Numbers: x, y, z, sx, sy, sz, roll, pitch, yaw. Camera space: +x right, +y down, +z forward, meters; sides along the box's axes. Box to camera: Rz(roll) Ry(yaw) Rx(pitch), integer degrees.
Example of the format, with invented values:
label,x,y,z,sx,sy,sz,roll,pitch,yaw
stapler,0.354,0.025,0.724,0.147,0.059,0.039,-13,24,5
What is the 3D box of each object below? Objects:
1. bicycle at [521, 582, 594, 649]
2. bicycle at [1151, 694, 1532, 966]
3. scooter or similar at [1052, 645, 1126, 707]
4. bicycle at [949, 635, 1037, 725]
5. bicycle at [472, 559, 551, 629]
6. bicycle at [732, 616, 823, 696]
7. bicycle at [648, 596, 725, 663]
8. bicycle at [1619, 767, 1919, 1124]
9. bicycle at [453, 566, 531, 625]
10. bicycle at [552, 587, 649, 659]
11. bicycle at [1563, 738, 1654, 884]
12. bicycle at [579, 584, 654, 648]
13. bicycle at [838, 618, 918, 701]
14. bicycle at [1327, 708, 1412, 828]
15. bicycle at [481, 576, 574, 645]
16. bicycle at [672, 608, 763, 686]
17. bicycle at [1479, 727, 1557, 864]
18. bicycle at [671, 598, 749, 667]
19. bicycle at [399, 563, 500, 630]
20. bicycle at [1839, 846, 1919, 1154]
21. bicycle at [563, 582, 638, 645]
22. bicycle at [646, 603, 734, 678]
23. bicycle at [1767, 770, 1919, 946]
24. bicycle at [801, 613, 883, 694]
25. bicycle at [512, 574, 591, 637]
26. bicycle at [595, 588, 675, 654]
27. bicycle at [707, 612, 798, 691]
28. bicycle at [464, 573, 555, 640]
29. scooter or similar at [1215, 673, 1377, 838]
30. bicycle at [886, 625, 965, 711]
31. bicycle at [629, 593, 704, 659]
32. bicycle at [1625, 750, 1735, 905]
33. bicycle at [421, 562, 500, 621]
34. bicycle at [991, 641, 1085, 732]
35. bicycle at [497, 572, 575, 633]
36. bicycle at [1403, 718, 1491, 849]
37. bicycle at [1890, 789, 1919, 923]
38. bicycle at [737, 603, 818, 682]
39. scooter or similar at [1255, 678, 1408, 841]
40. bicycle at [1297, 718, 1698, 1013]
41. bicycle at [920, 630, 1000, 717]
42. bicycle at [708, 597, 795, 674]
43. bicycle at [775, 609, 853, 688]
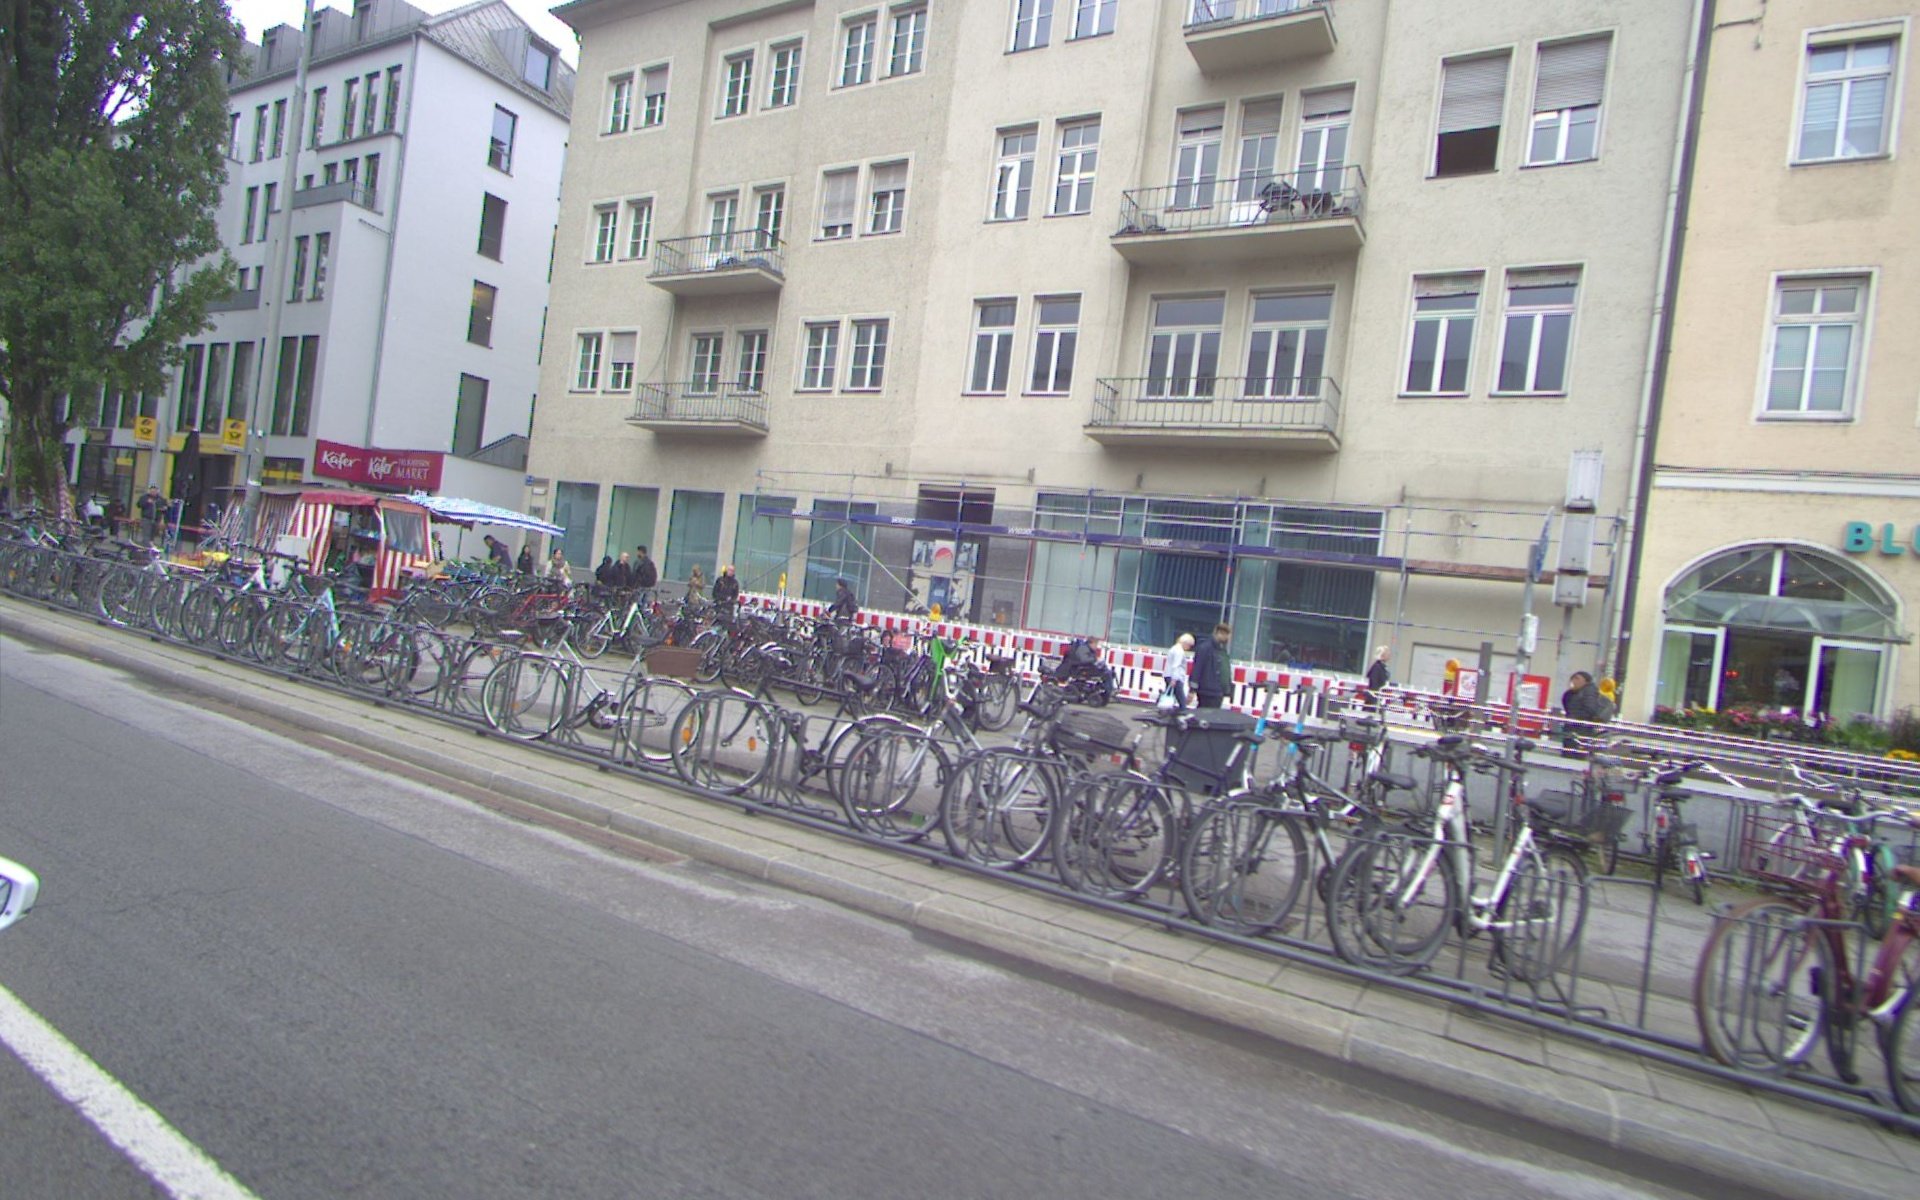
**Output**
label,x,y,z,sx,sy,sz,roll,pitch,yaw
bicycle,-6.254,0.248,15.668,0.362,0.975,1.229,7,0,10
bicycle,1.950,1.176,5.111,1.780,1.172,0.545,8,0,-21
scooter or similar,2.343,1.373,18.262,1.106,0.956,0.535,8,2,30
bicycle,0.470,1.062,13.510,0.443,1.088,1.553,8,0,27
bicycle,-8.187,-0.098,18.397,0.363,1.154,1.246,8,0,29
bicycle,-2.391,0.753,13.271,0.363,0.975,1.133,8,0,37
bicycle,-4.310,0.486,15.938,0.362,0.993,1.247,7,0,25
bicycle,3.751,1.423,4.173,1.777,1.213,0.557,8,1,-16
bicycle,-8.741,-0.074,18.828,0.363,0.975,1.246,8,0,29
bicycle,-5.308,0.365,14.927,0.363,0.975,1.405,8,0,26
bicycle,5.549,1.753,8.673,0.445,0.976,1.757,8,0,29
bicycle,-5.781,0.288,16.972,0.362,0.993,1.247,7,0,23
bicycle,-1.146,0.851,14.307,0.362,1.088,1.430,7,0,25
bicycle,3.953,1.560,9.651,0.363,0.976,1.756,8,0,32
bicycle,-6.908,0.177,16.110,0.364,0.975,1.259,8,0,40
bicycle,-3.313,0.657,13.809,0.363,0.975,1.181,8,0,35
bicycle,5.022,1.704,9.056,0.445,0.976,1.757,8,0,29
bicycle,-3.841,0.520,15.548,0.362,0.993,1.247,7,0,25
bicycle,-8.614,-0.042,17.014,0.363,0.975,1.431,8,0,37
bicycle,4.249,1.566,3.765,1.575,1.041,0.498,8,1,-11
bicycle,-6.161,0.244,17.292,0.362,0.993,1.247,7,0,23
bicycle,-3.765,0.580,14.083,0.363,0.975,1.183,8,0,29
bicycle,6.820,1.915,7.784,0.500,0.976,1.841,8,0,29
bicycle,-1.678,0.780,14.546,0.362,1.088,1.430,7,0,25
bicycle,-7.204,0.107,17.792,0.363,0.993,1.246,8,0,29
bicycle,-5.333,0.358,16.549,0.363,0.993,1.246,8,0,28
bicycle,-2.765,0.705,13.482,0.363,0.975,1.133,8,0,37
bicycle,-7.312,0.121,16.353,0.363,0.975,1.262,8,0,34
scooter or similar,2.908,1.322,8.833,0.360,1.190,1.337,7,1,-28
bicycle,-0.457,0.941,13.956,0.362,1.088,1.430,7,0,25
bicycle,-4.739,0.436,16.303,0.362,0.993,1.247,7,0,23
bicycle,5.928,1.824,8.350,0.445,0.976,1.757,8,0,29
bicycle,-9.326,-0.138,18.829,0.363,0.975,1.246,8,0,29
bicycle,1.060,1.144,13.299,0.444,1.088,1.551,8,0,33
bicycle,-7.637,0.057,18.166,0.363,0.993,1.246,8,0,29
bicycle,4.510,1.634,9.264,0.445,0.976,1.756,8,0,32
bicycle,7.522,2.004,7.384,0.500,0.976,1.841,8,0,29
bicycle,-2.694,0.646,14.968,0.362,1.088,1.331,7,0,25
scooter or similar,3.247,1.373,8.895,0.298,1.190,1.268,6,1,-28
bicycle,2.577,1.260,4.802,1.780,1.172,0.545,8,0,-21
bicycle,0.022,1.003,13.768,0.362,1.088,1.554,7,0,25
bicycle,-3.180,0.566,15.458,0.362,1.088,1.504,7,0,25
bicycle,-2.135,0.724,14.857,0.362,1.088,1.331,7,0,25
